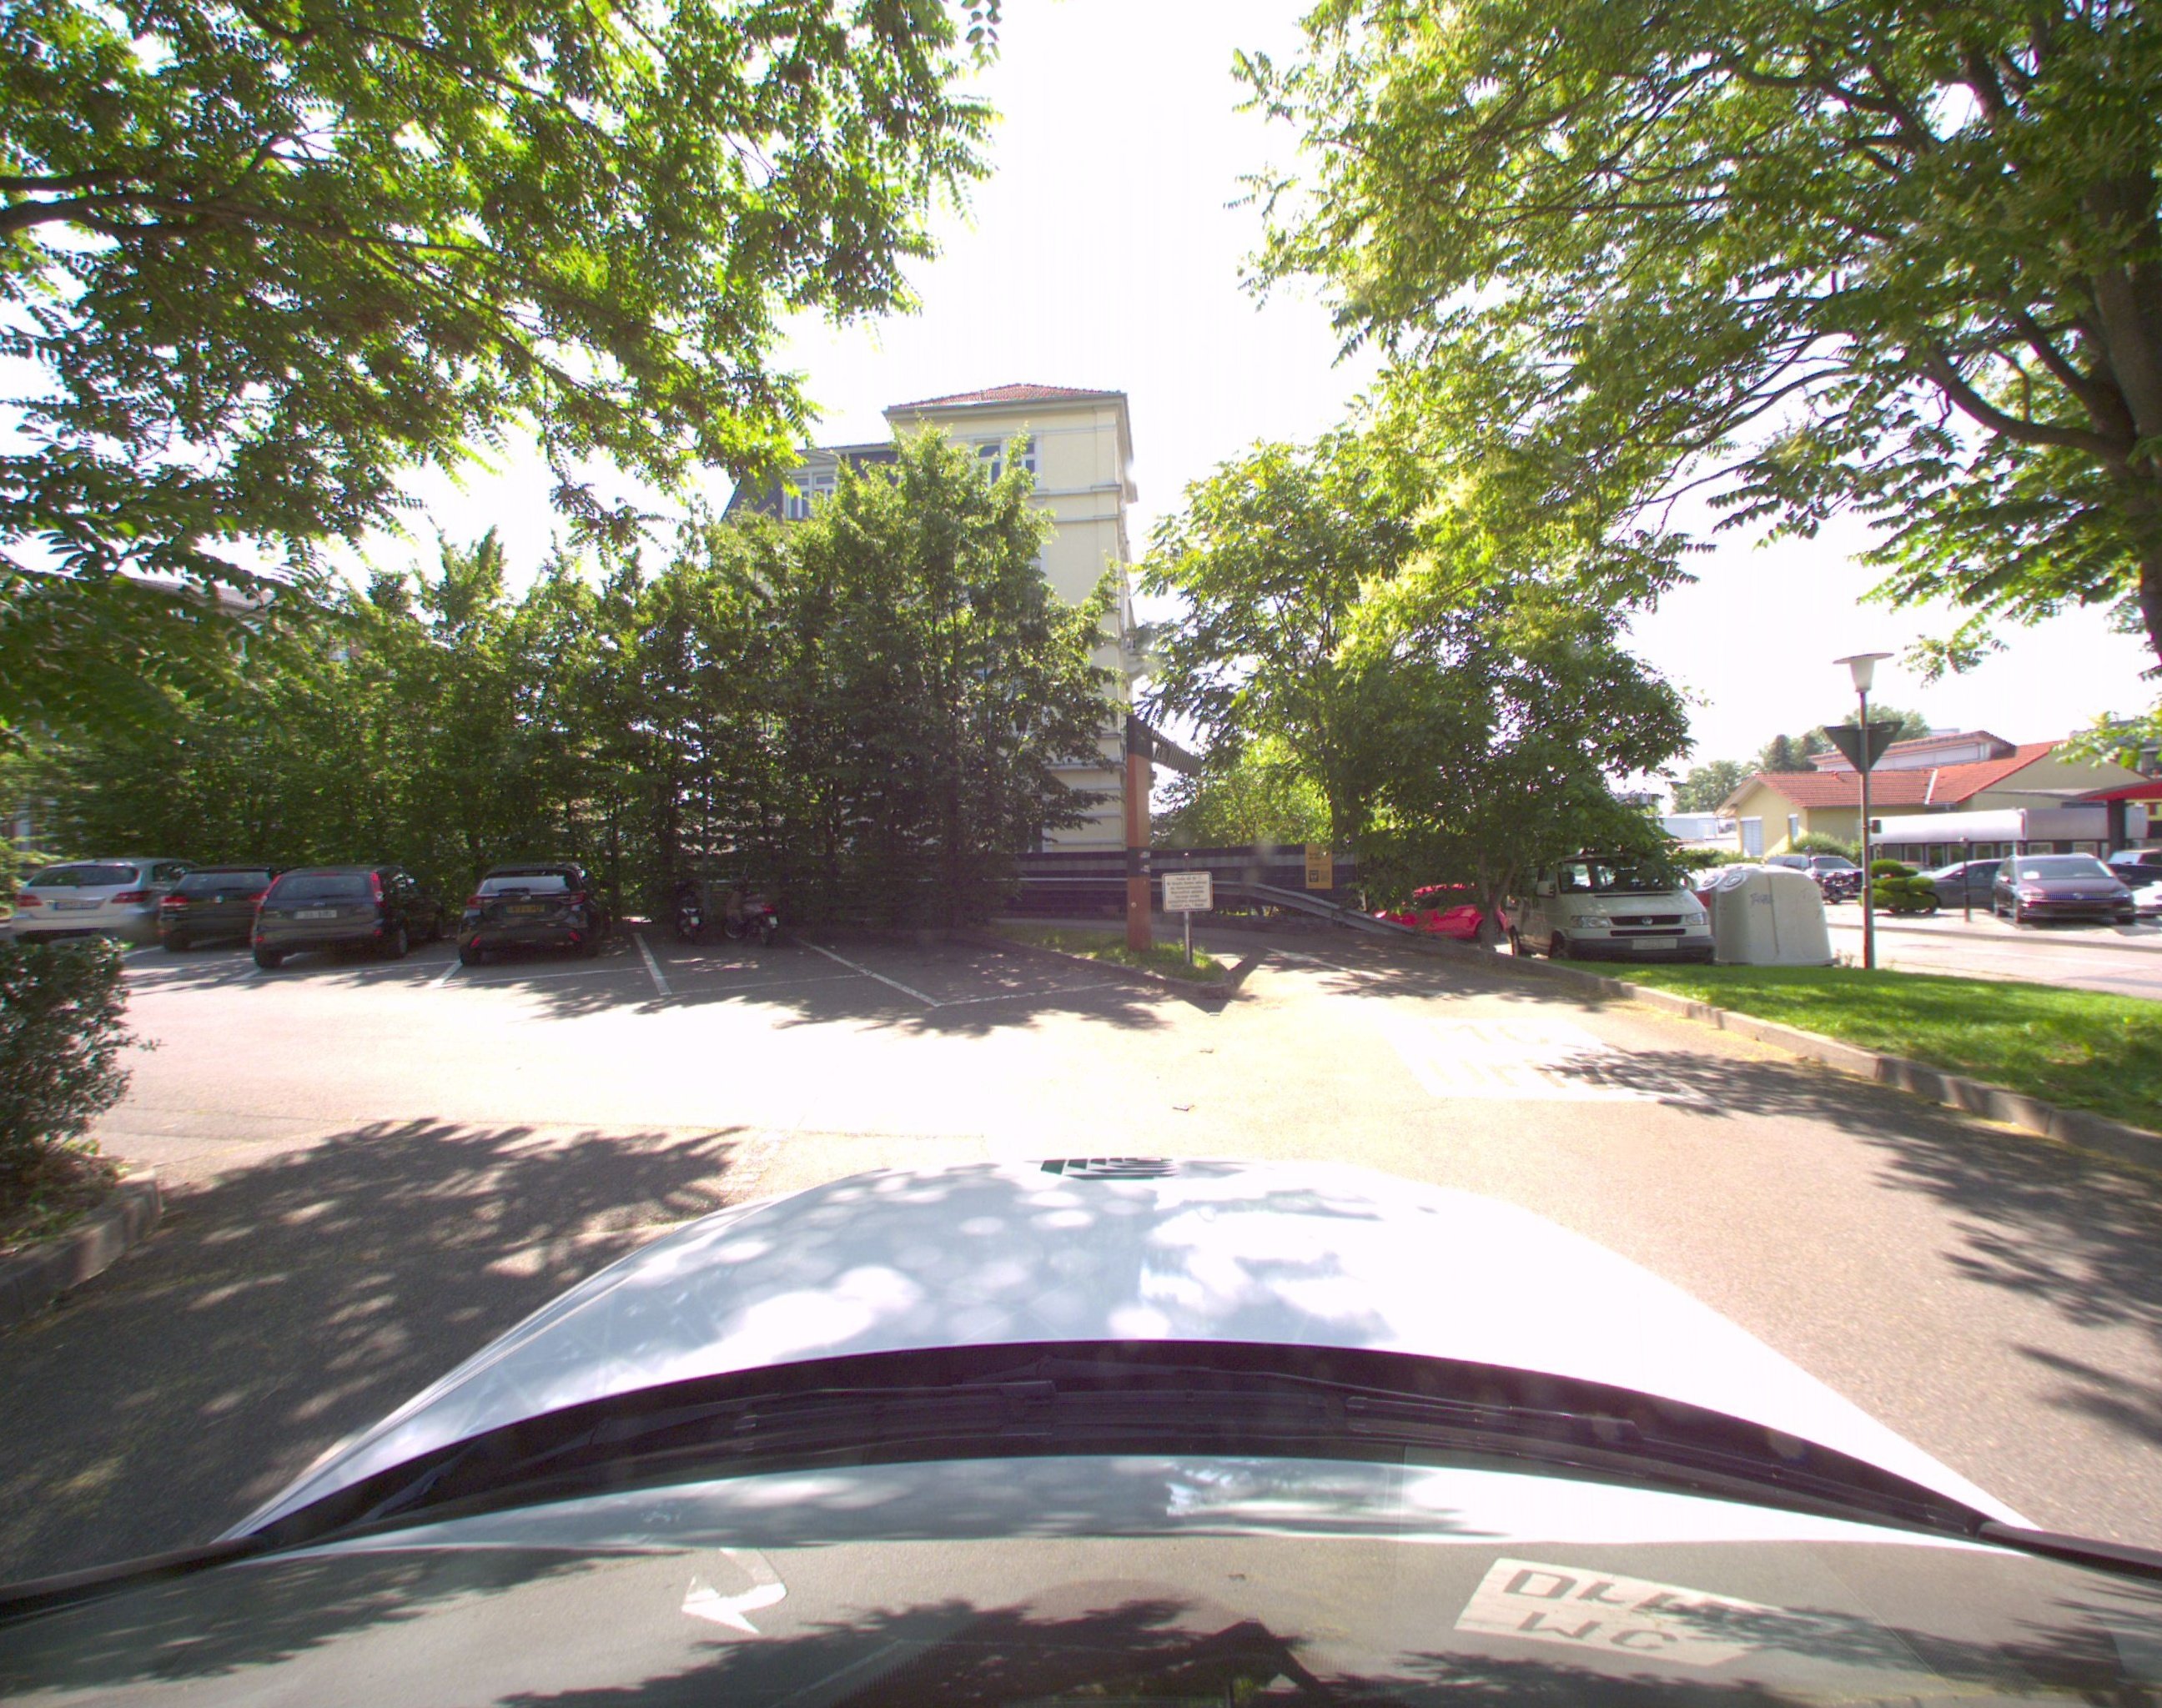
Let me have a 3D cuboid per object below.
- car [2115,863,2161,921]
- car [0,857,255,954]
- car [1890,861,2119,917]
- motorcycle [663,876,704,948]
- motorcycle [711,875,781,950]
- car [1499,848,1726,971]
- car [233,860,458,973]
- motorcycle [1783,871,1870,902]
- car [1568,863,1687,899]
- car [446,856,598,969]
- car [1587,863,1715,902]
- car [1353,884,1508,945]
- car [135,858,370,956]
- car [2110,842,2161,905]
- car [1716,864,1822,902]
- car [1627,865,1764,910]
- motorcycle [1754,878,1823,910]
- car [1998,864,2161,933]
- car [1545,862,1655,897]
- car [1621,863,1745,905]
[{"bbox_3d":[29.977,1.001,21.542,3.992,1.487,1.786,0,0,-14],"label":"car"},{"bbox_3d":[-18.527,0.882,16.106,1.777,1.572,3.967,-1,1,-25],"label":"car"},{"bbox_3d":[28.378,1.019,25.272,4.279,1.585,2.012,0,0,31],"label":"car"},{"bbox_3d":[-6.991,0.987,14.291,0.476,1.141,1.589,-1,0,-32],"label":"motorcycle"},{"bbox_3d":[-5.681,0.948,13.781,0.573,1.169,1.586,-1,0,-42],"label":"motorcycle"},{"bbox_3d":[8.325,0.708,13.336,1.936,1.583,5.056,0,1,19],"label":"car"},{"bbox_3d":[-12.000,0.898,13.615,1.708,1.453,3.966,-1,1,-26],"label":"car"},{"bbox_3d":[30.683,1.330,33.530,2.701,1.227,0.999,0,0,0],"label":"motorcycle"},{"bbox_3d":[27.286,1.323,40.765,4.623,1.725,2.000,1,-1,0],"label":"car"},{"bbox_3d":[-9.094,0.831,13.536,1.665,1.469,3.868,-2,2,-29],"label":"car"},{"bbox_3d":[26.623,1.309,38.150,4.623,1.725,2.000,1,-1,0],"label":"car"},{"bbox_3d":[8.862,1.541,20.889,3.383,1.378,1.490,-1,1,9],"label":"car"},{"bbox_3d":[-15.574,0.888,15.619,1.777,1.469,3.969,-1,2,-24],"label":"car"},{"bbox_3d":[36.702,0.633,27.001,4.498,2.014,1.986,0,0,-21],"label":"car"},{"bbox_3d":[31.466,1.278,37.391,1.981,1.585,4.011,0,0,10],"label":"car"},{"bbox_3d":[24.734,1.325,32.929,3.965,1.706,2.004,0,0,7],"label":"car"},{"bbox_3d":[27.592,1.549,31.790,1.853,1.158,0.793,0,0,20],"label":"motorcycle"},{"bbox_3d":[24.386,1.010,19.685,4.003,1.510,1.780,0,0,-23],"label":"car"},{"bbox_3d":[27.456,1.334,43.189,4.623,1.725,2.000,1,-1,0],"label":"car"},{"bbox_3d":[26.410,1.301,35.829,3.974,1.725,2.000,1,-1,0],"label":"car"}]
